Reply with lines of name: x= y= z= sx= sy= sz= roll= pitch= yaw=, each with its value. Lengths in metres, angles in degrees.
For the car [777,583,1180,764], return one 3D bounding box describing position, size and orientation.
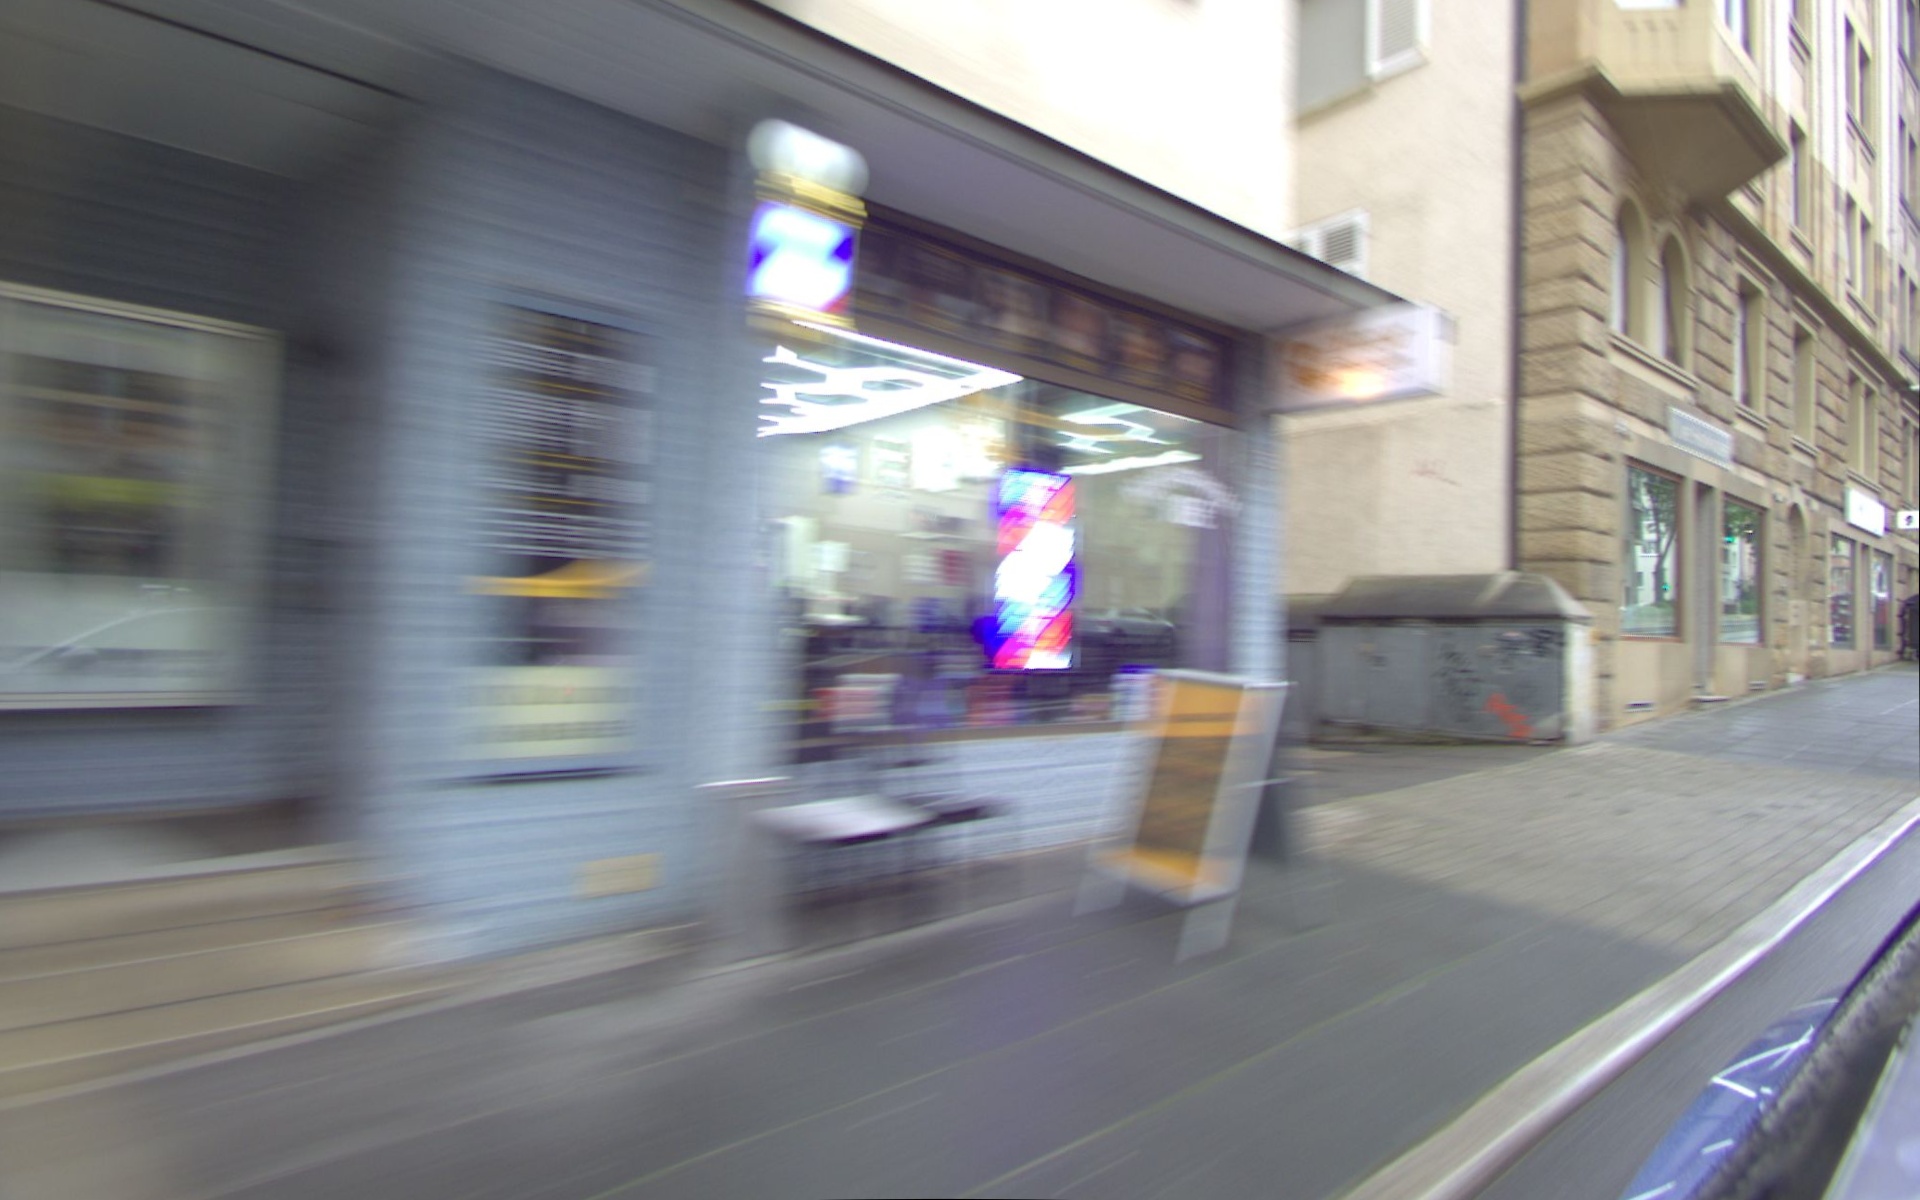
car: x=-0.033 y=0.870 z=11.177 sx=1.861 sy=1.573 sz=4.618 roll=5 pitch=-8 yaw=-40
